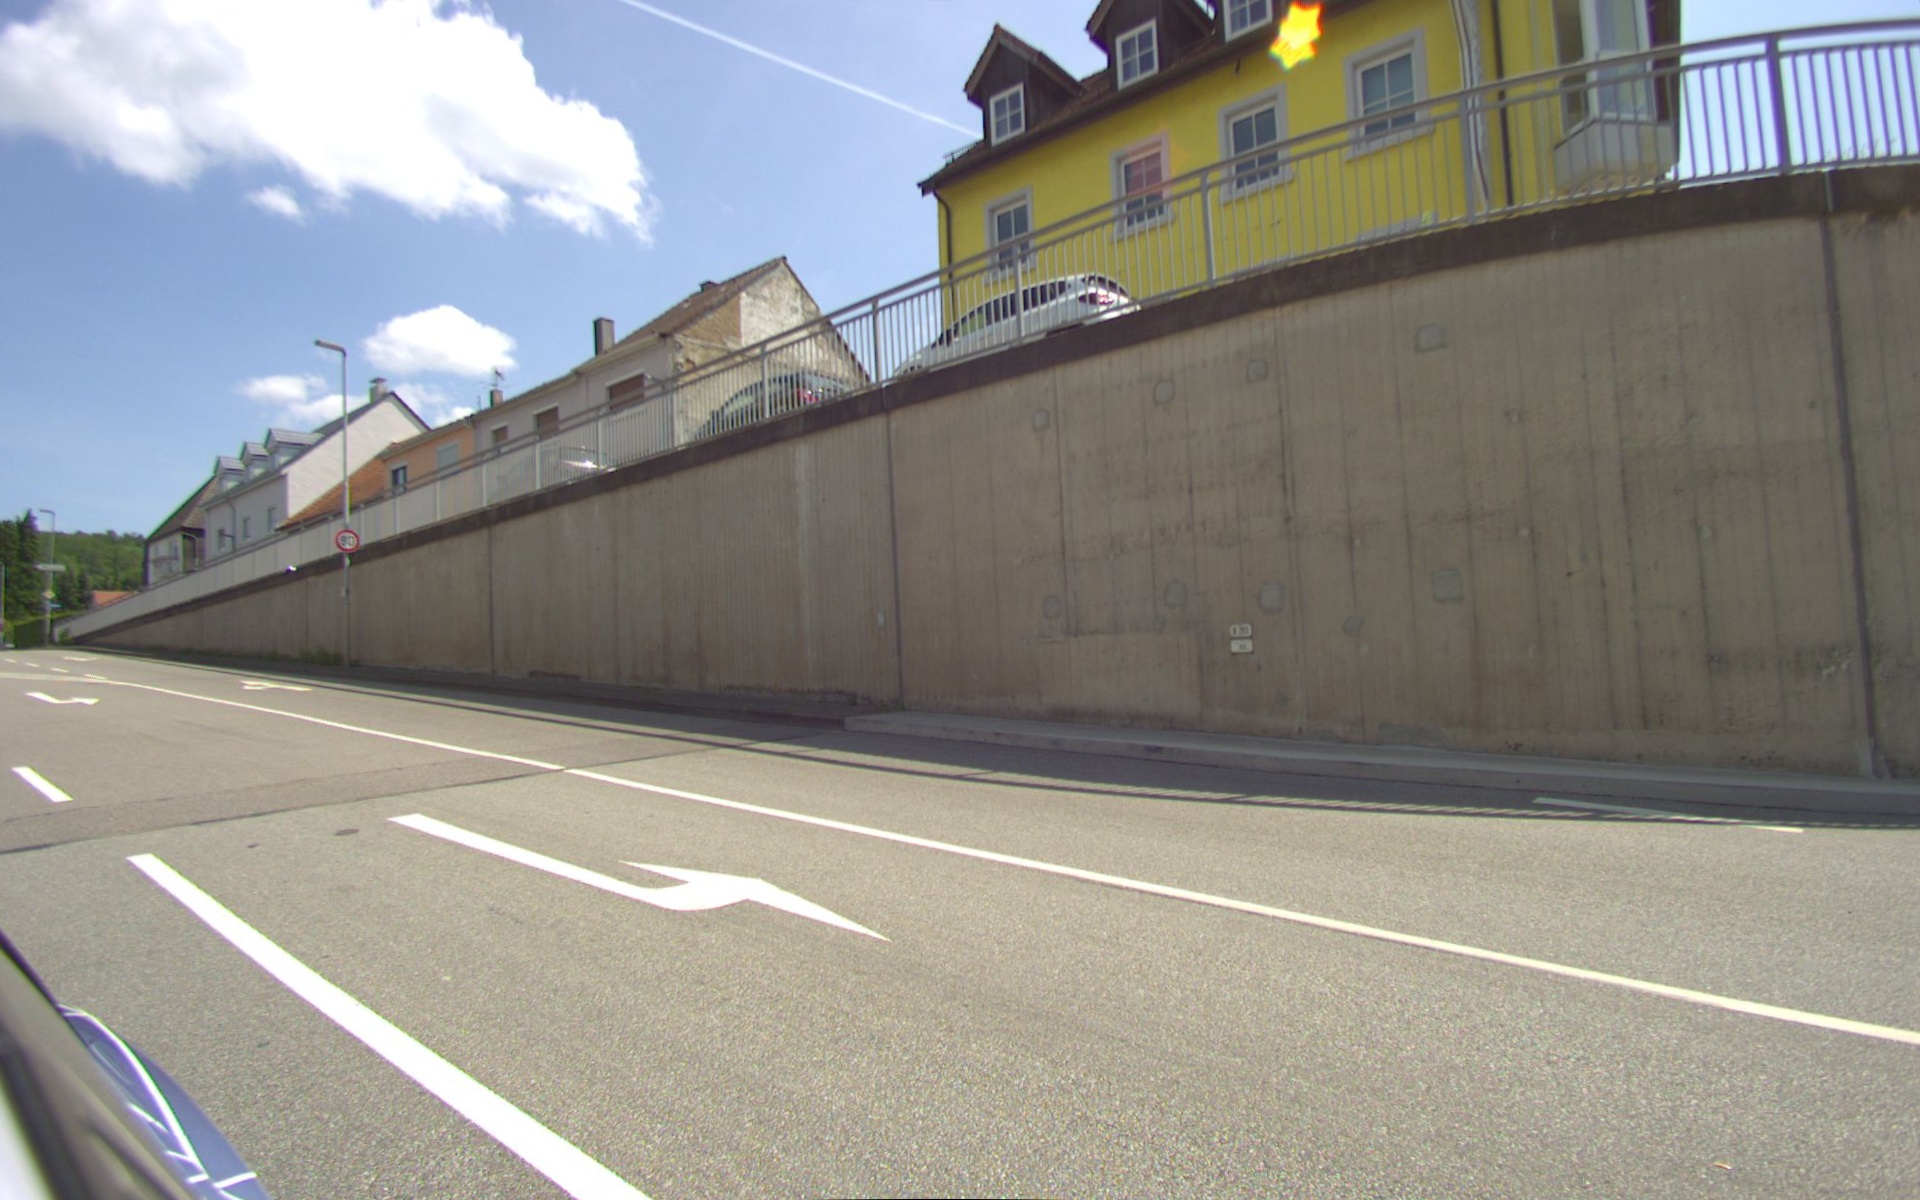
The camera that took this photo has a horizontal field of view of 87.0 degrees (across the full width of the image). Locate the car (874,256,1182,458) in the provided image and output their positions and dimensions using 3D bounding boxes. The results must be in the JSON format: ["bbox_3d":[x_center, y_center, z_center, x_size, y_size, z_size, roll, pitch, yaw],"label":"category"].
[{"bbox_3d":[0.878,-3.268,14.433,3.996,1.681,1.883,-4,-3,40],"label":"car"}]

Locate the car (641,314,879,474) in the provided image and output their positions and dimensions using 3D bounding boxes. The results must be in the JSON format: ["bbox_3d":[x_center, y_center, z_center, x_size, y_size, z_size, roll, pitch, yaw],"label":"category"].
[{"bbox_3d":[-3.588,-3.450,17.720,4.218,1.718,1.804,-4,-3,39],"label":"car"}]

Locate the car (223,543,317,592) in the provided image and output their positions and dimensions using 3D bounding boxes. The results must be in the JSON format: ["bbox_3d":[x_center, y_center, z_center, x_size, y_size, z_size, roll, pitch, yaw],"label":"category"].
[{"bbox_3d":[-25.796,-1.167,37.793,4.388,1.416,1.768,-4,-3,39],"label":"car"}]

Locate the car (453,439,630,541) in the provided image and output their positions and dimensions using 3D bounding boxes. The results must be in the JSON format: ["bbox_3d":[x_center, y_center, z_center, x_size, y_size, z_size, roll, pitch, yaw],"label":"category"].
[{"bbox_3d":[-9.390,-2.349,22.526,4.388,1.536,1.780,-4,-3,39],"label":"car"}]
